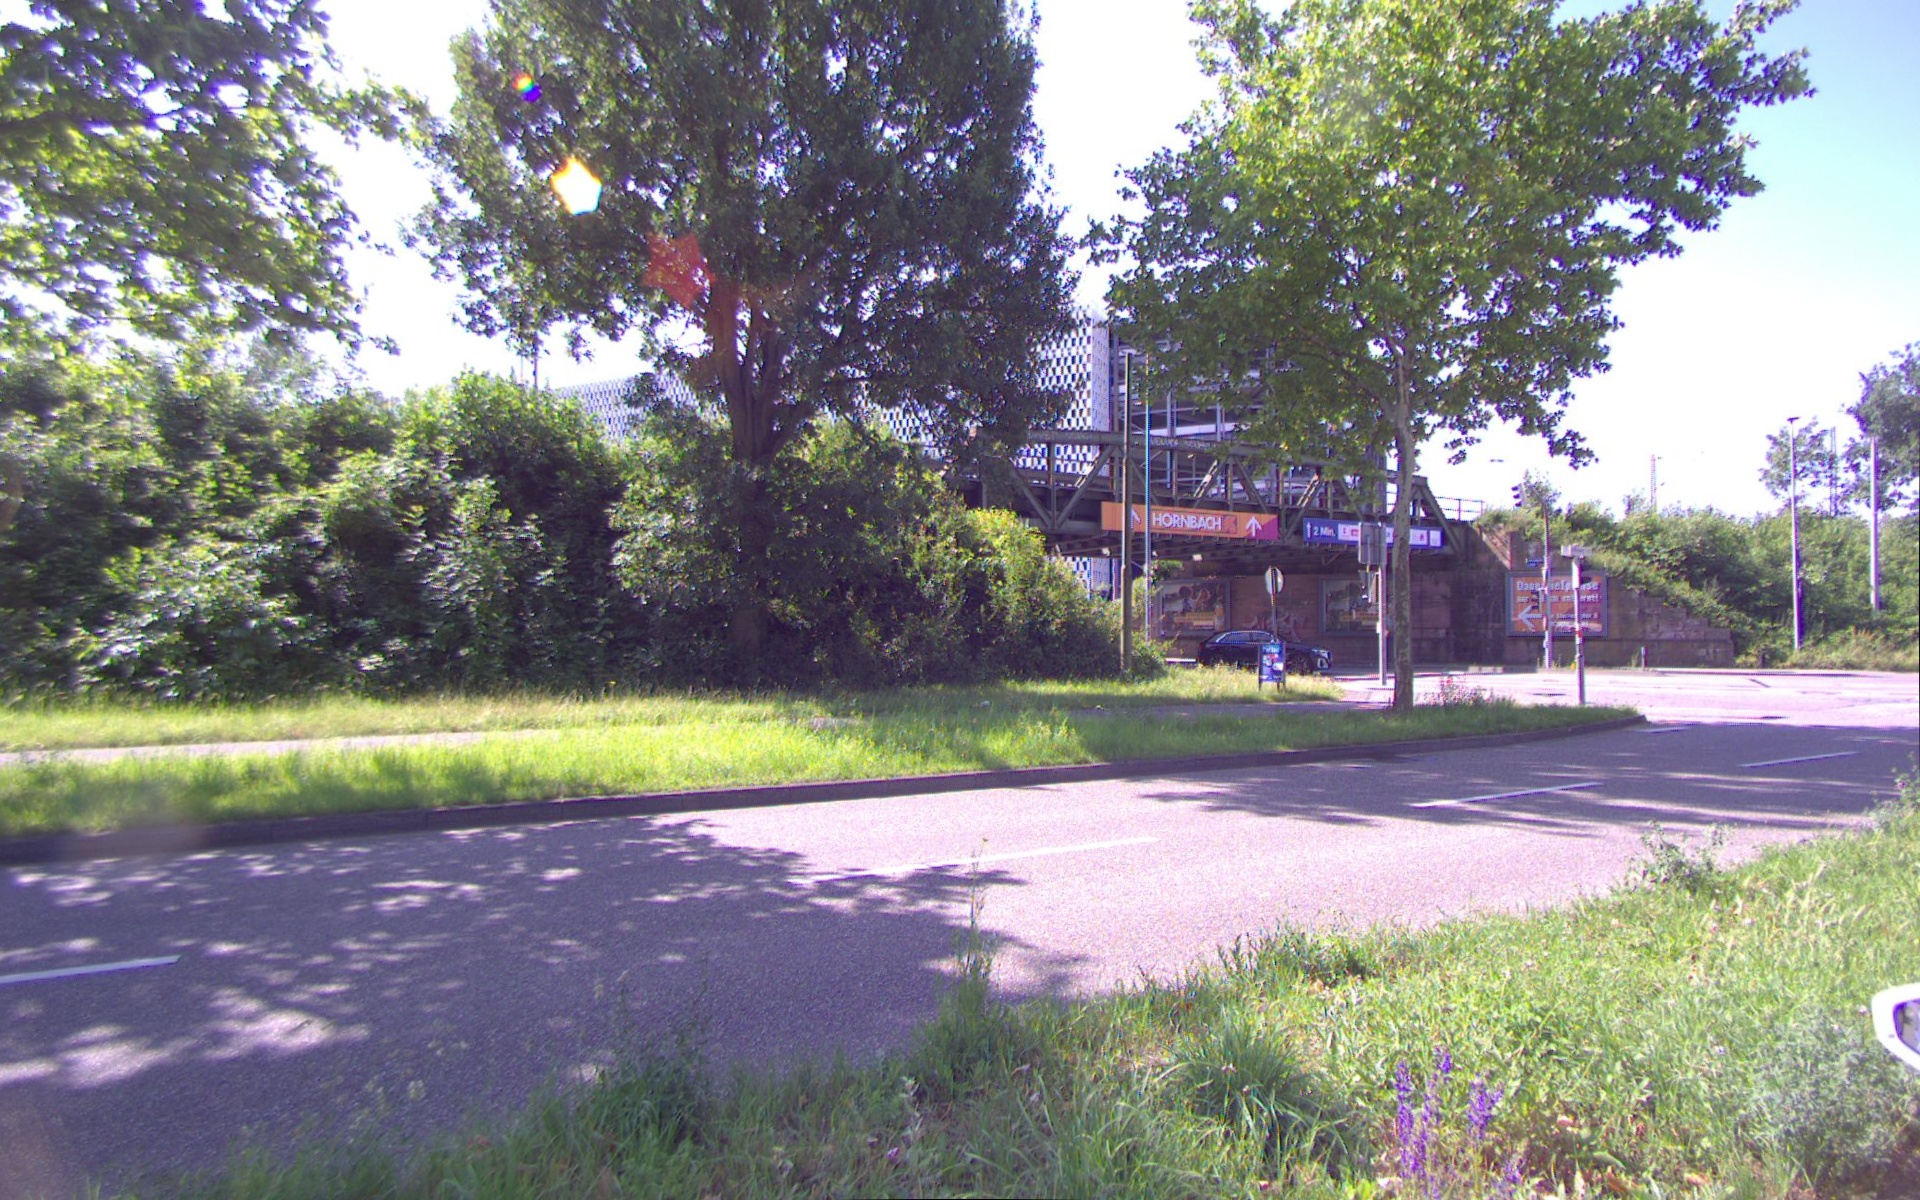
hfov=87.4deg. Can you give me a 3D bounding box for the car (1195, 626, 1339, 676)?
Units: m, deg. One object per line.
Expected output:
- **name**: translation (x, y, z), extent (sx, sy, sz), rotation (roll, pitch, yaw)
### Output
- **car**: translation (11.351, 1.855, 37.204), extent (4.957, 1.617, 1.526), rotation (1, -1, 24)
